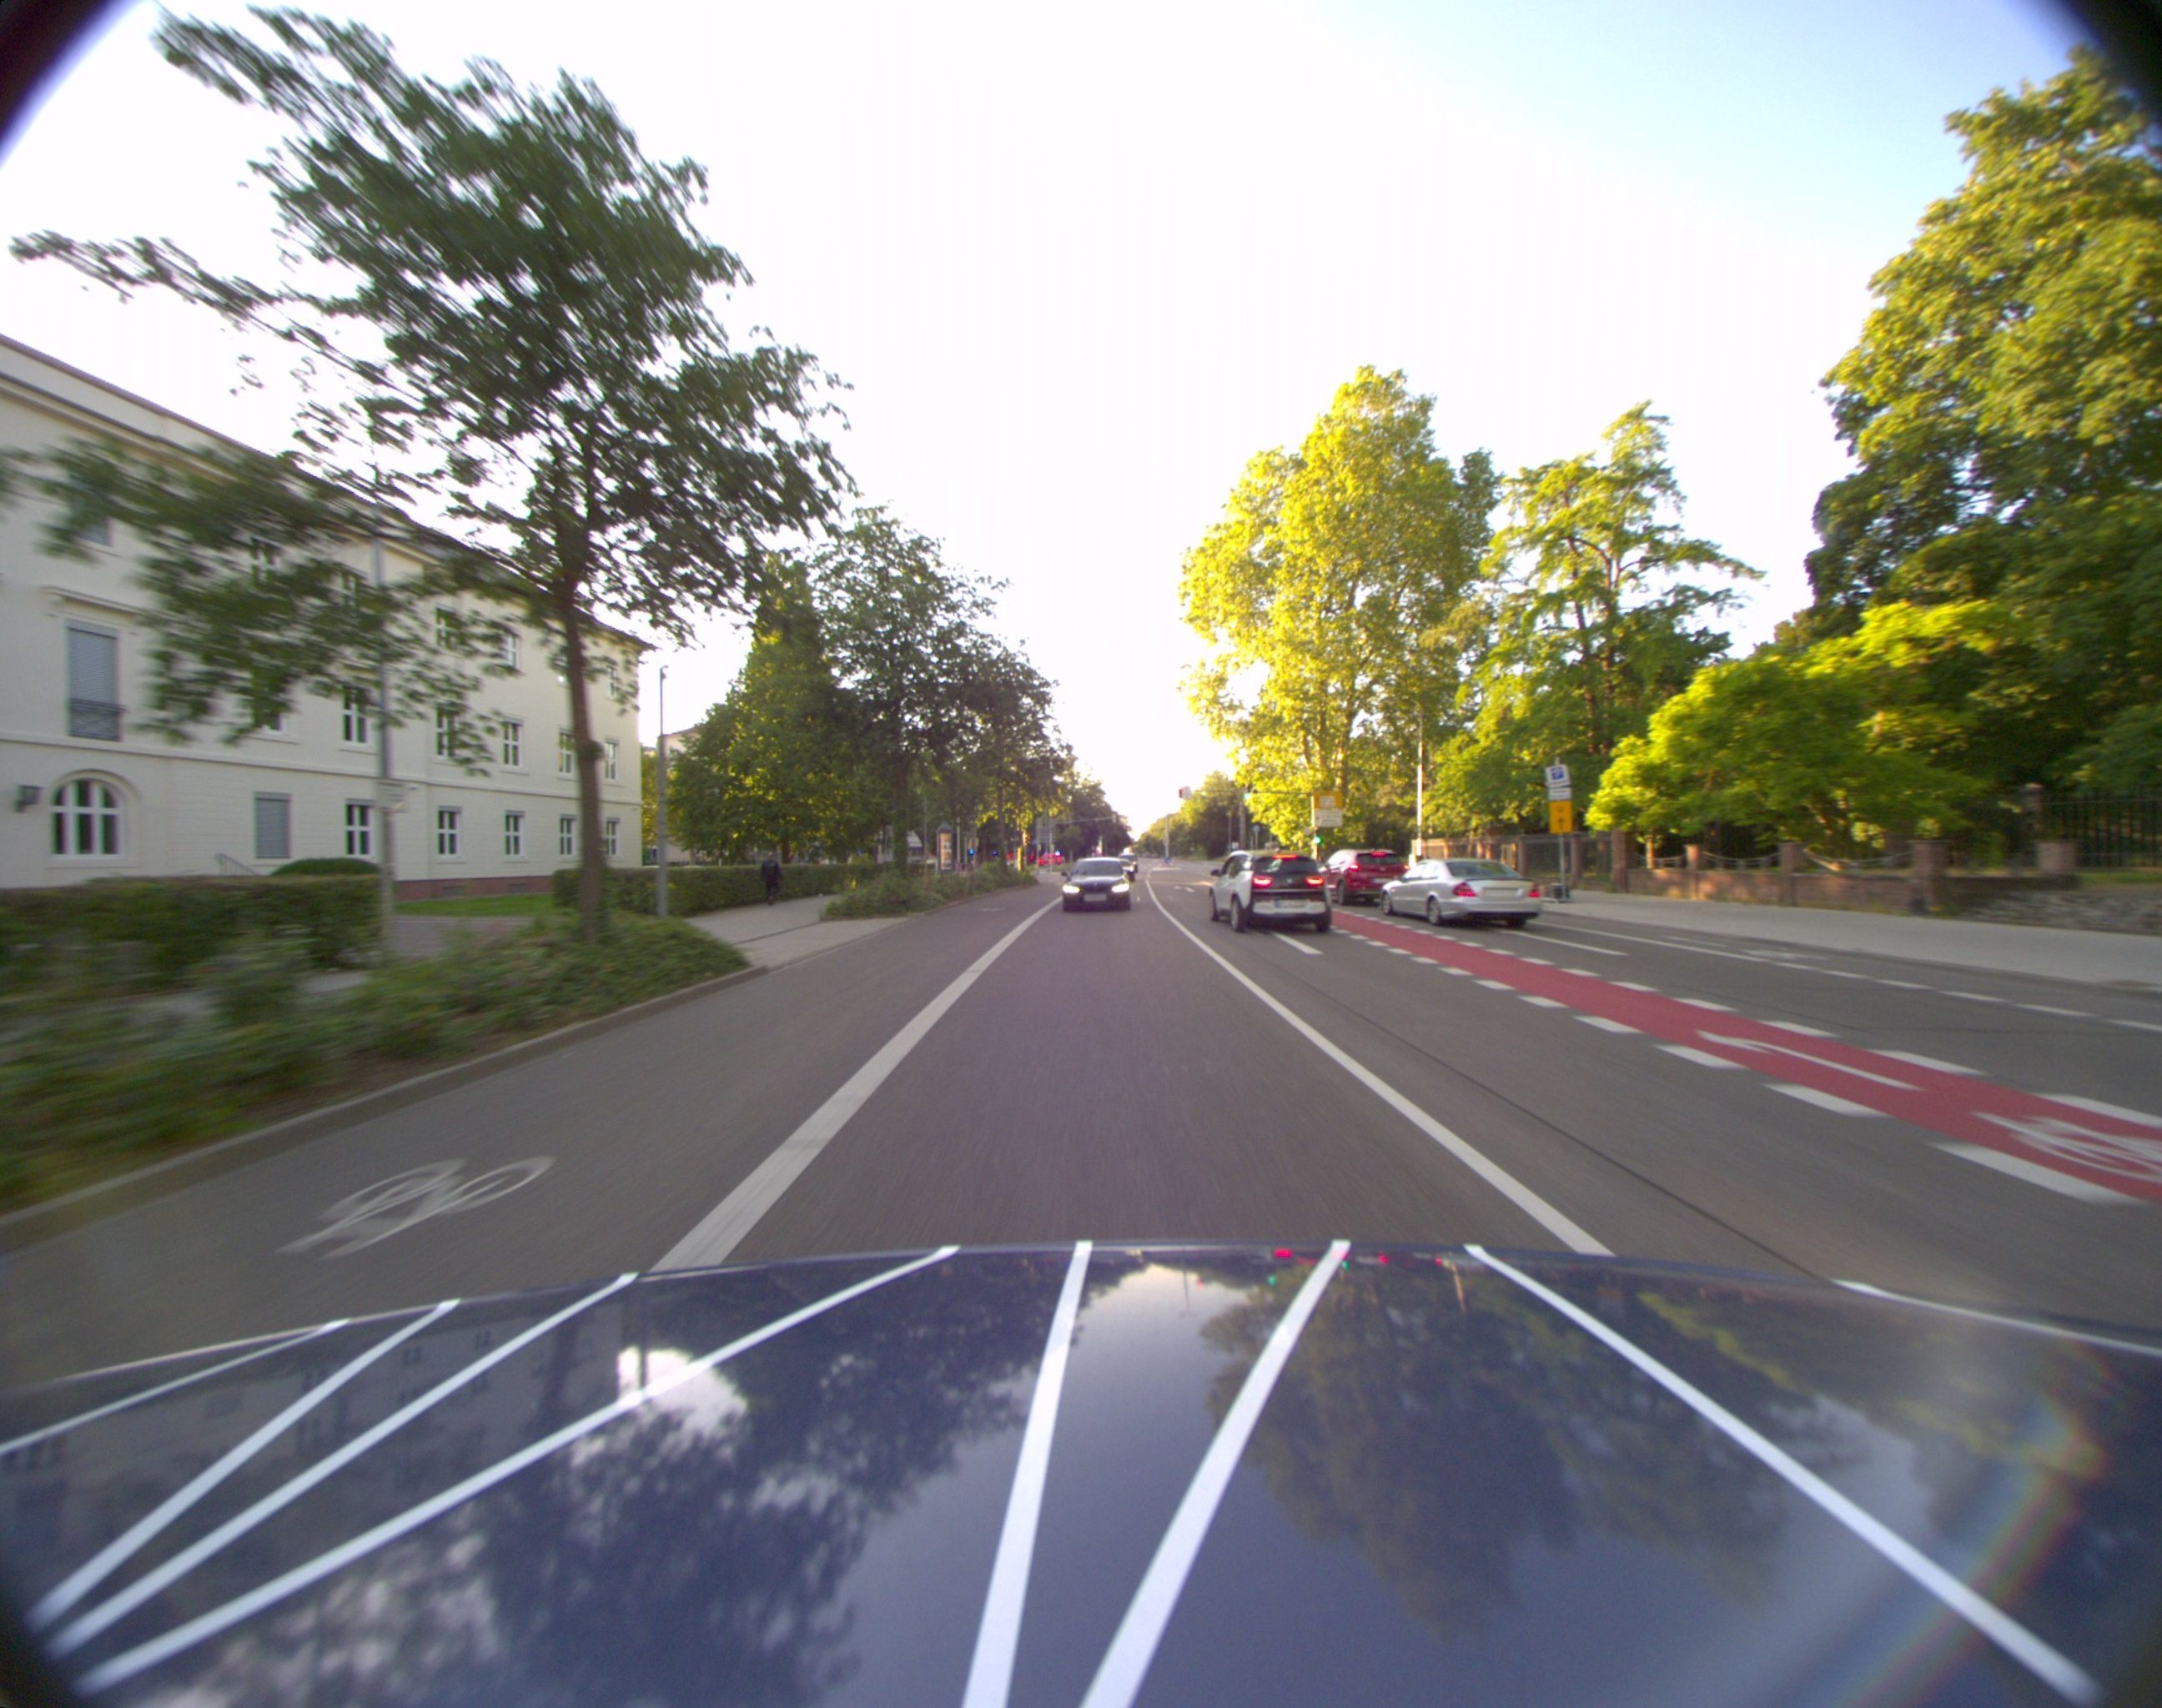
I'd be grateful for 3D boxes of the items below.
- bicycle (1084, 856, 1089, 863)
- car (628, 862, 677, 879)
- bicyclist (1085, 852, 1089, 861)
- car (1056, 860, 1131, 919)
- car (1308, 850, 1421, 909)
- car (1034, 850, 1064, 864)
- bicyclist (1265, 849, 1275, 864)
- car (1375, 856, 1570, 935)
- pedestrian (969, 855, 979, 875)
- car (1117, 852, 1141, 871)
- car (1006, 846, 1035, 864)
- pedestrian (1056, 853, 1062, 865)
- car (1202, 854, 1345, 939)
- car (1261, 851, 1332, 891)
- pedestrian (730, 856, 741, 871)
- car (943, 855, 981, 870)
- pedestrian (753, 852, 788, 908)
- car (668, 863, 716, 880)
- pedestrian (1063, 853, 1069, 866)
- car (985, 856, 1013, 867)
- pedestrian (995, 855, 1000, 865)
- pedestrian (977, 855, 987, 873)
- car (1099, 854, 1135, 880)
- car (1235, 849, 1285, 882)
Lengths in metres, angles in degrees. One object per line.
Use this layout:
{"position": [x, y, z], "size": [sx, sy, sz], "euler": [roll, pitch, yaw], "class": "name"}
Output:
{"position": [1.060, 1.036, 141.747], "size": [0.571, 1.233, 1.900], "euler": [-1, 0, 7], "class": "bicycle"}
{"position": [-43.423, 1.690, 77.001], "size": [3.993, 1.602, 2.002], "euler": [-1, 0, 13], "class": "car"}
{"position": [1.041, 0.517, 141.633], "size": [0.571, 1.623, 1.038], "euler": [-1, 0, 7], "class": "bicyclist"}
{"position": [0.464, 0.898, 21.476], "size": [1.817, 1.391, 5.214], "euler": [-1, 0, 3], "class": "car"}
{"position": [8.515, 0.703, 23.273], "size": [1.920, 1.615, 4.640], "euler": [1, 0, 3], "class": "car"}
{"position": [-5.750, 0.555, 137.824], "size": [5.161, 2.379, 2.001], "euler": [-1, 0, 10], "class": "car"}
{"position": [18.199, 0.259, 73.193], "size": [0.791, 1.419, 0.892], "euler": [-1, 1, 7], "class": "bicyclist"}
{"position": [8.106, 0.761, 16.347], "size": [1.920, 1.409, 4.771], "euler": [1, 0, 3], "class": "car"}
{"position": [-9.632, 0.996, 68.215], "size": [0.682, 1.743, 0.689], "euler": [-1, 0, 7], "class": "pedestrian"}
{"position": [4.106, 0.600, 64.115], "size": [1.849, 1.473, 4.705], "euler": [-4, 0, 4], "class": "car"}
{"position": [-11.126, 0.158, 140.965], "size": [2.768, 3.224, 8.306], "euler": [-1, 0, 13], "class": "car"}
{"position": [-2.901, 0.628, 98.985], "size": [0.737, 1.514, 0.789], "euler": [-1, 1, 0], "class": "pedestrian"}
{"position": [3.762, 0.761, 15.582], "size": [1.853, 1.517, 3.999], "euler": [0, 0, -1], "class": "car"}
{"position": [9.122, 0.676, 32.554], "size": [1.920, 1.574, 4.675], "euler": [1, 0, 3], "class": "car"}
{"position": [-39.235, 1.072, 86.285], "size": [0.894, 1.728, 0.705], "euler": [-1, 1, 15], "class": "pedestrian"}
{"position": [-14.757, 1.019, 94.409], "size": [4.232, 1.730, 1.921], "euler": [-1, 0, 12], "class": "car"}
{"position": [-9.771, 0.809, 23.928], "size": [0.772, 1.728, 0.807], "euler": [-1, 1, -2], "class": "pedestrian"}
{"position": [-38.890, 1.735, 76.049], "size": [3.992, 1.630, 1.903], "euler": [-1, 0, 14], "class": "car"}
{"position": [-1.997, 0.688, 99.106], "size": [0.721, 1.650, 0.776], "euler": [-1, 1, -2], "class": "pedestrian"}
{"position": [-11.748, 1.060, 109.464], "size": [3.660, 1.451, 1.666], "euler": [-1, 0, 12], "class": "car"}
{"position": [-15.601, 1.115, 142.319], "size": [0.682, 1.831, 0.846], "euler": [-1, 0, 7], "class": "pedestrian"}
{"position": [-8.868, 0.914, 68.080], "size": [0.682, 1.613, 0.845], "euler": [-1, 0, 7], "class": "pedestrian"}
{"position": [2.192, 0.747, 44.918], "size": [1.849, 1.346, 4.705], "euler": [-4, 0, 5], "class": "car"}
{"position": [9.925, 0.608, 42.350], "size": [1.920, 1.686, 4.427], "euler": [1, 0, 3], "class": "car"}
